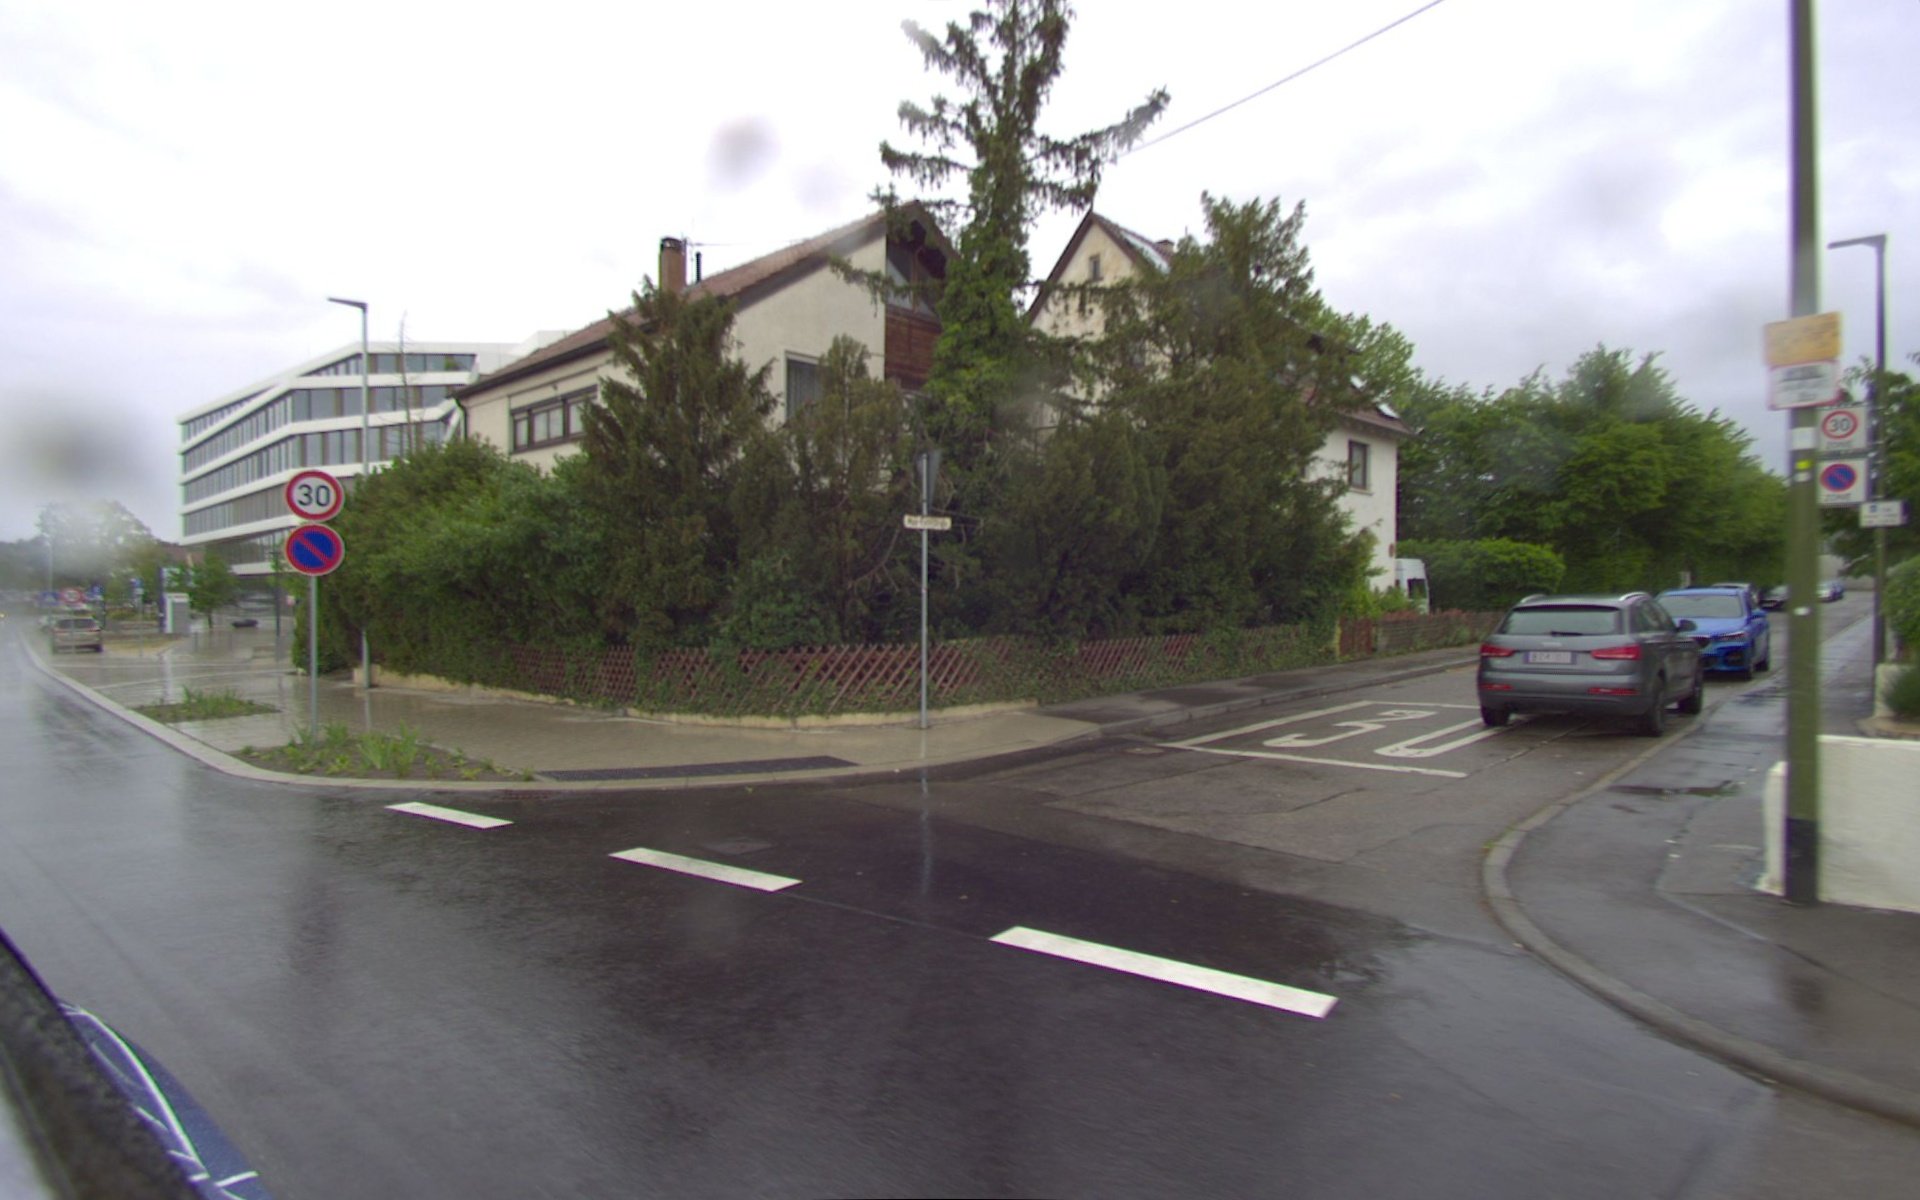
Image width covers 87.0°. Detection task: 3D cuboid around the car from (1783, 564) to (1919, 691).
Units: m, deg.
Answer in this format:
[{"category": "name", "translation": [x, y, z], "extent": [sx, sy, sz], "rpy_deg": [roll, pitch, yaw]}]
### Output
[{"category": "car", "translation": [16.237, 0.403, 16.674], "extent": [3.933, 2.029, 1.985], "rpy_deg": [-3, -1, 44]}]

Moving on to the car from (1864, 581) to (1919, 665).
[{"category": "car", "translation": [19.845, 0.386, 19.151], "extent": [1.992, 1.589, 3.935], "rpy_deg": [-2, -1, -44]}]

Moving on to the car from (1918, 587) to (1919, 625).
[{"category": "car", "translation": [45.730, 0.281, 46.766], "extent": [2.001, 1.730, 3.941], "rpy_deg": [-2, -3, 45]}]

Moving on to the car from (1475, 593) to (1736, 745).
[{"category": "car", "translation": [7.909, 0.720, 12.272], "extent": [3.798, 1.478, 1.786], "rpy_deg": [-2, -1, -44]}]

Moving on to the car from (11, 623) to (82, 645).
[{"category": "car", "translation": [-72.797, 2.685, 80.735], "extent": [4.105, 1.430, 2.003], "rpy_deg": [-3, 1, -40]}]

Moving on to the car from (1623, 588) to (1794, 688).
[{"category": "car", "translation": [13.894, 0.641, 18.704], "extent": [1.926, 1.586, 3.955], "rpy_deg": [-3, -1, 45]}]

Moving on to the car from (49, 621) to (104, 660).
[{"category": "car", "translation": [-41.454, 1.863, 47.445], "extent": [1.815, 1.718, 4.328], "rpy_deg": [-1, 0, -43]}]
